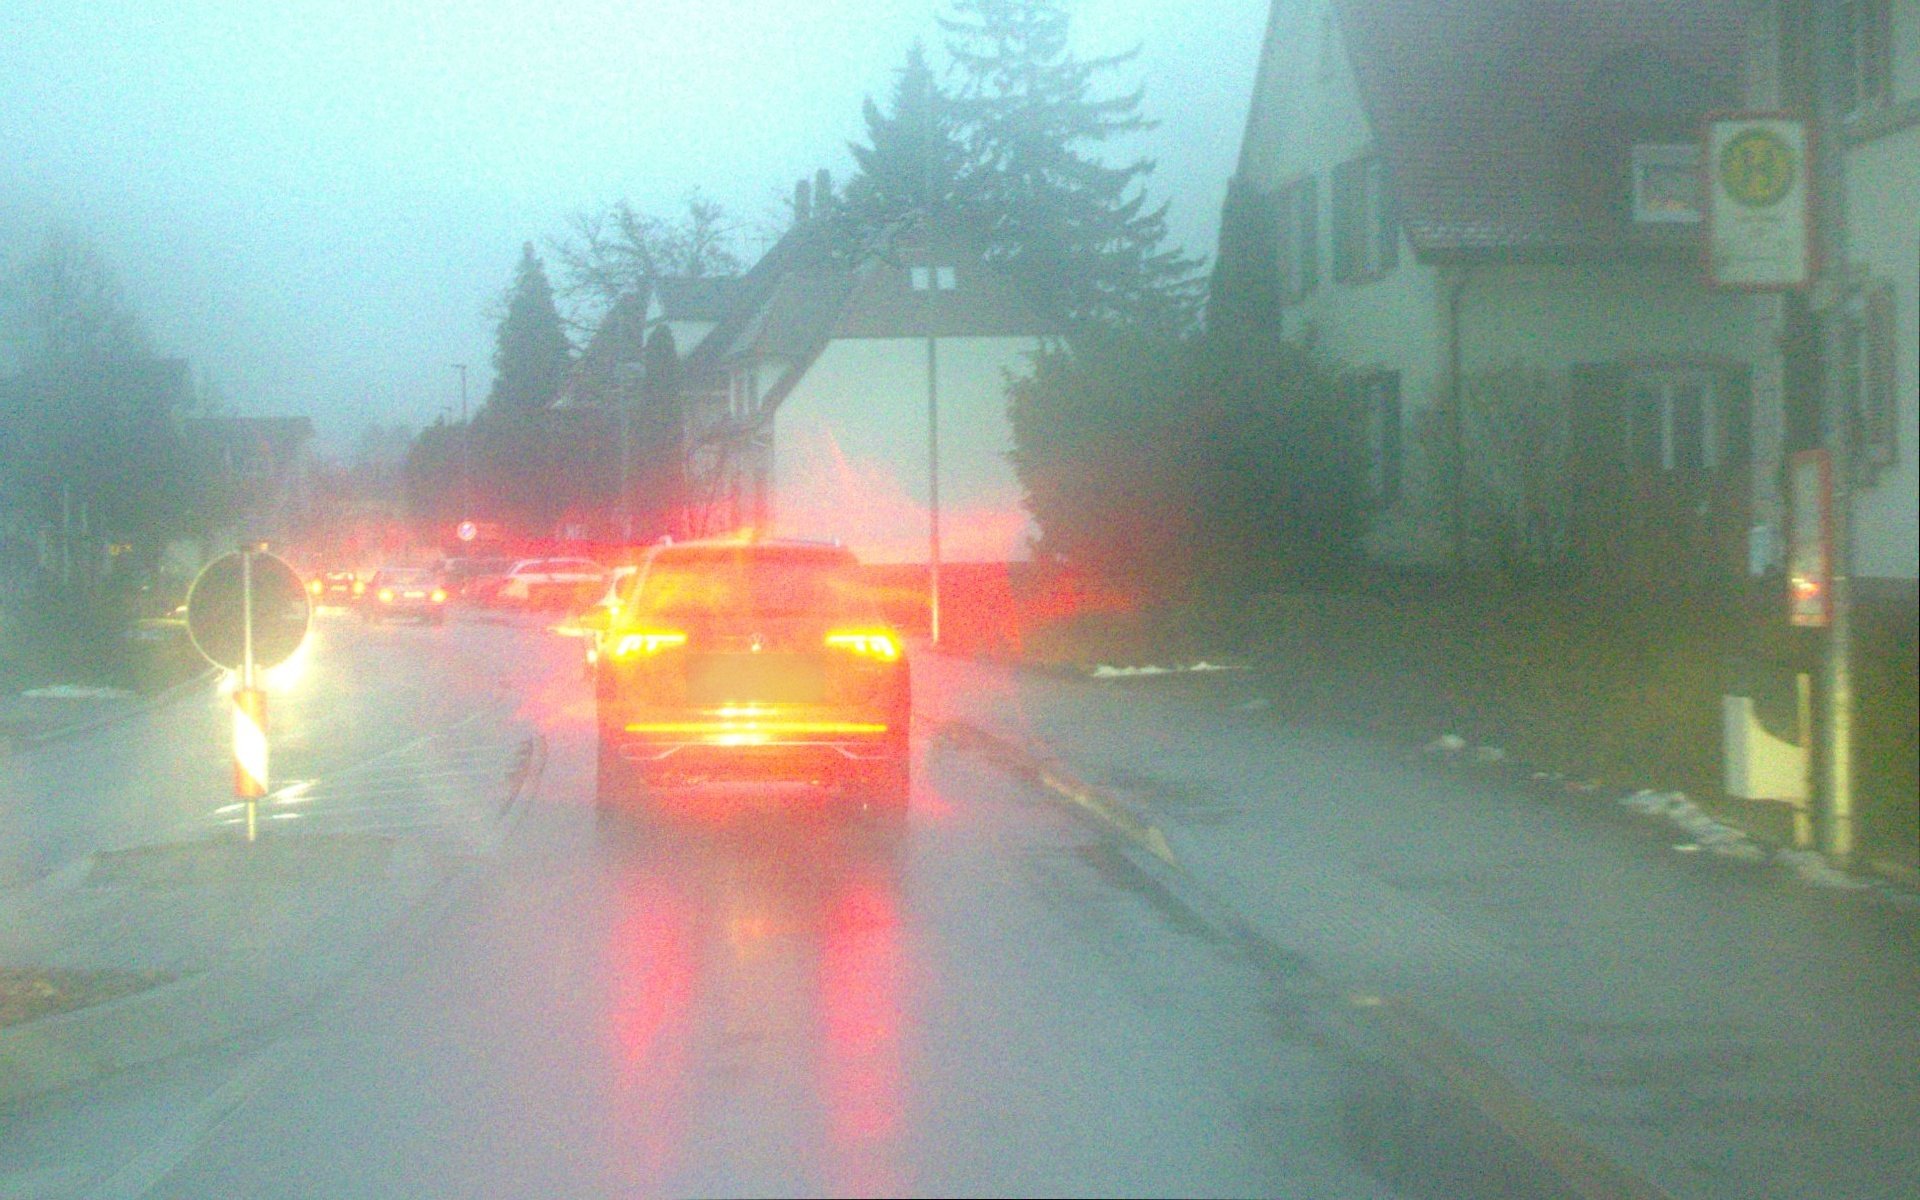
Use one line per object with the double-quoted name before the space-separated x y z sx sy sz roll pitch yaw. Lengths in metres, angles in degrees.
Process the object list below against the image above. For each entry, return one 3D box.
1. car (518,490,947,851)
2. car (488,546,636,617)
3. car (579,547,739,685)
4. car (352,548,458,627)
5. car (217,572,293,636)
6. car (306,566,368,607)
"car" -1.416 0.378 21.345 2.309 1.932 5.019 -1 0 -4
"car" -11.783 -0.551 101.707 4.245 2.007 1.811 -1 1 -9
"car" -3.814 0.162 43.055 1.857 1.641 4.001 0 1 -7
"car" -14.315 -0.307 88.463 2.309 1.932 5.019 -1 0 -13
"car" -18.297 0.095 89.325 1.823 1.548 4.001 -2 1 -11
"car" -21.327 -0.461 117.599 1.842 1.327 3.939 -1 1 -13
